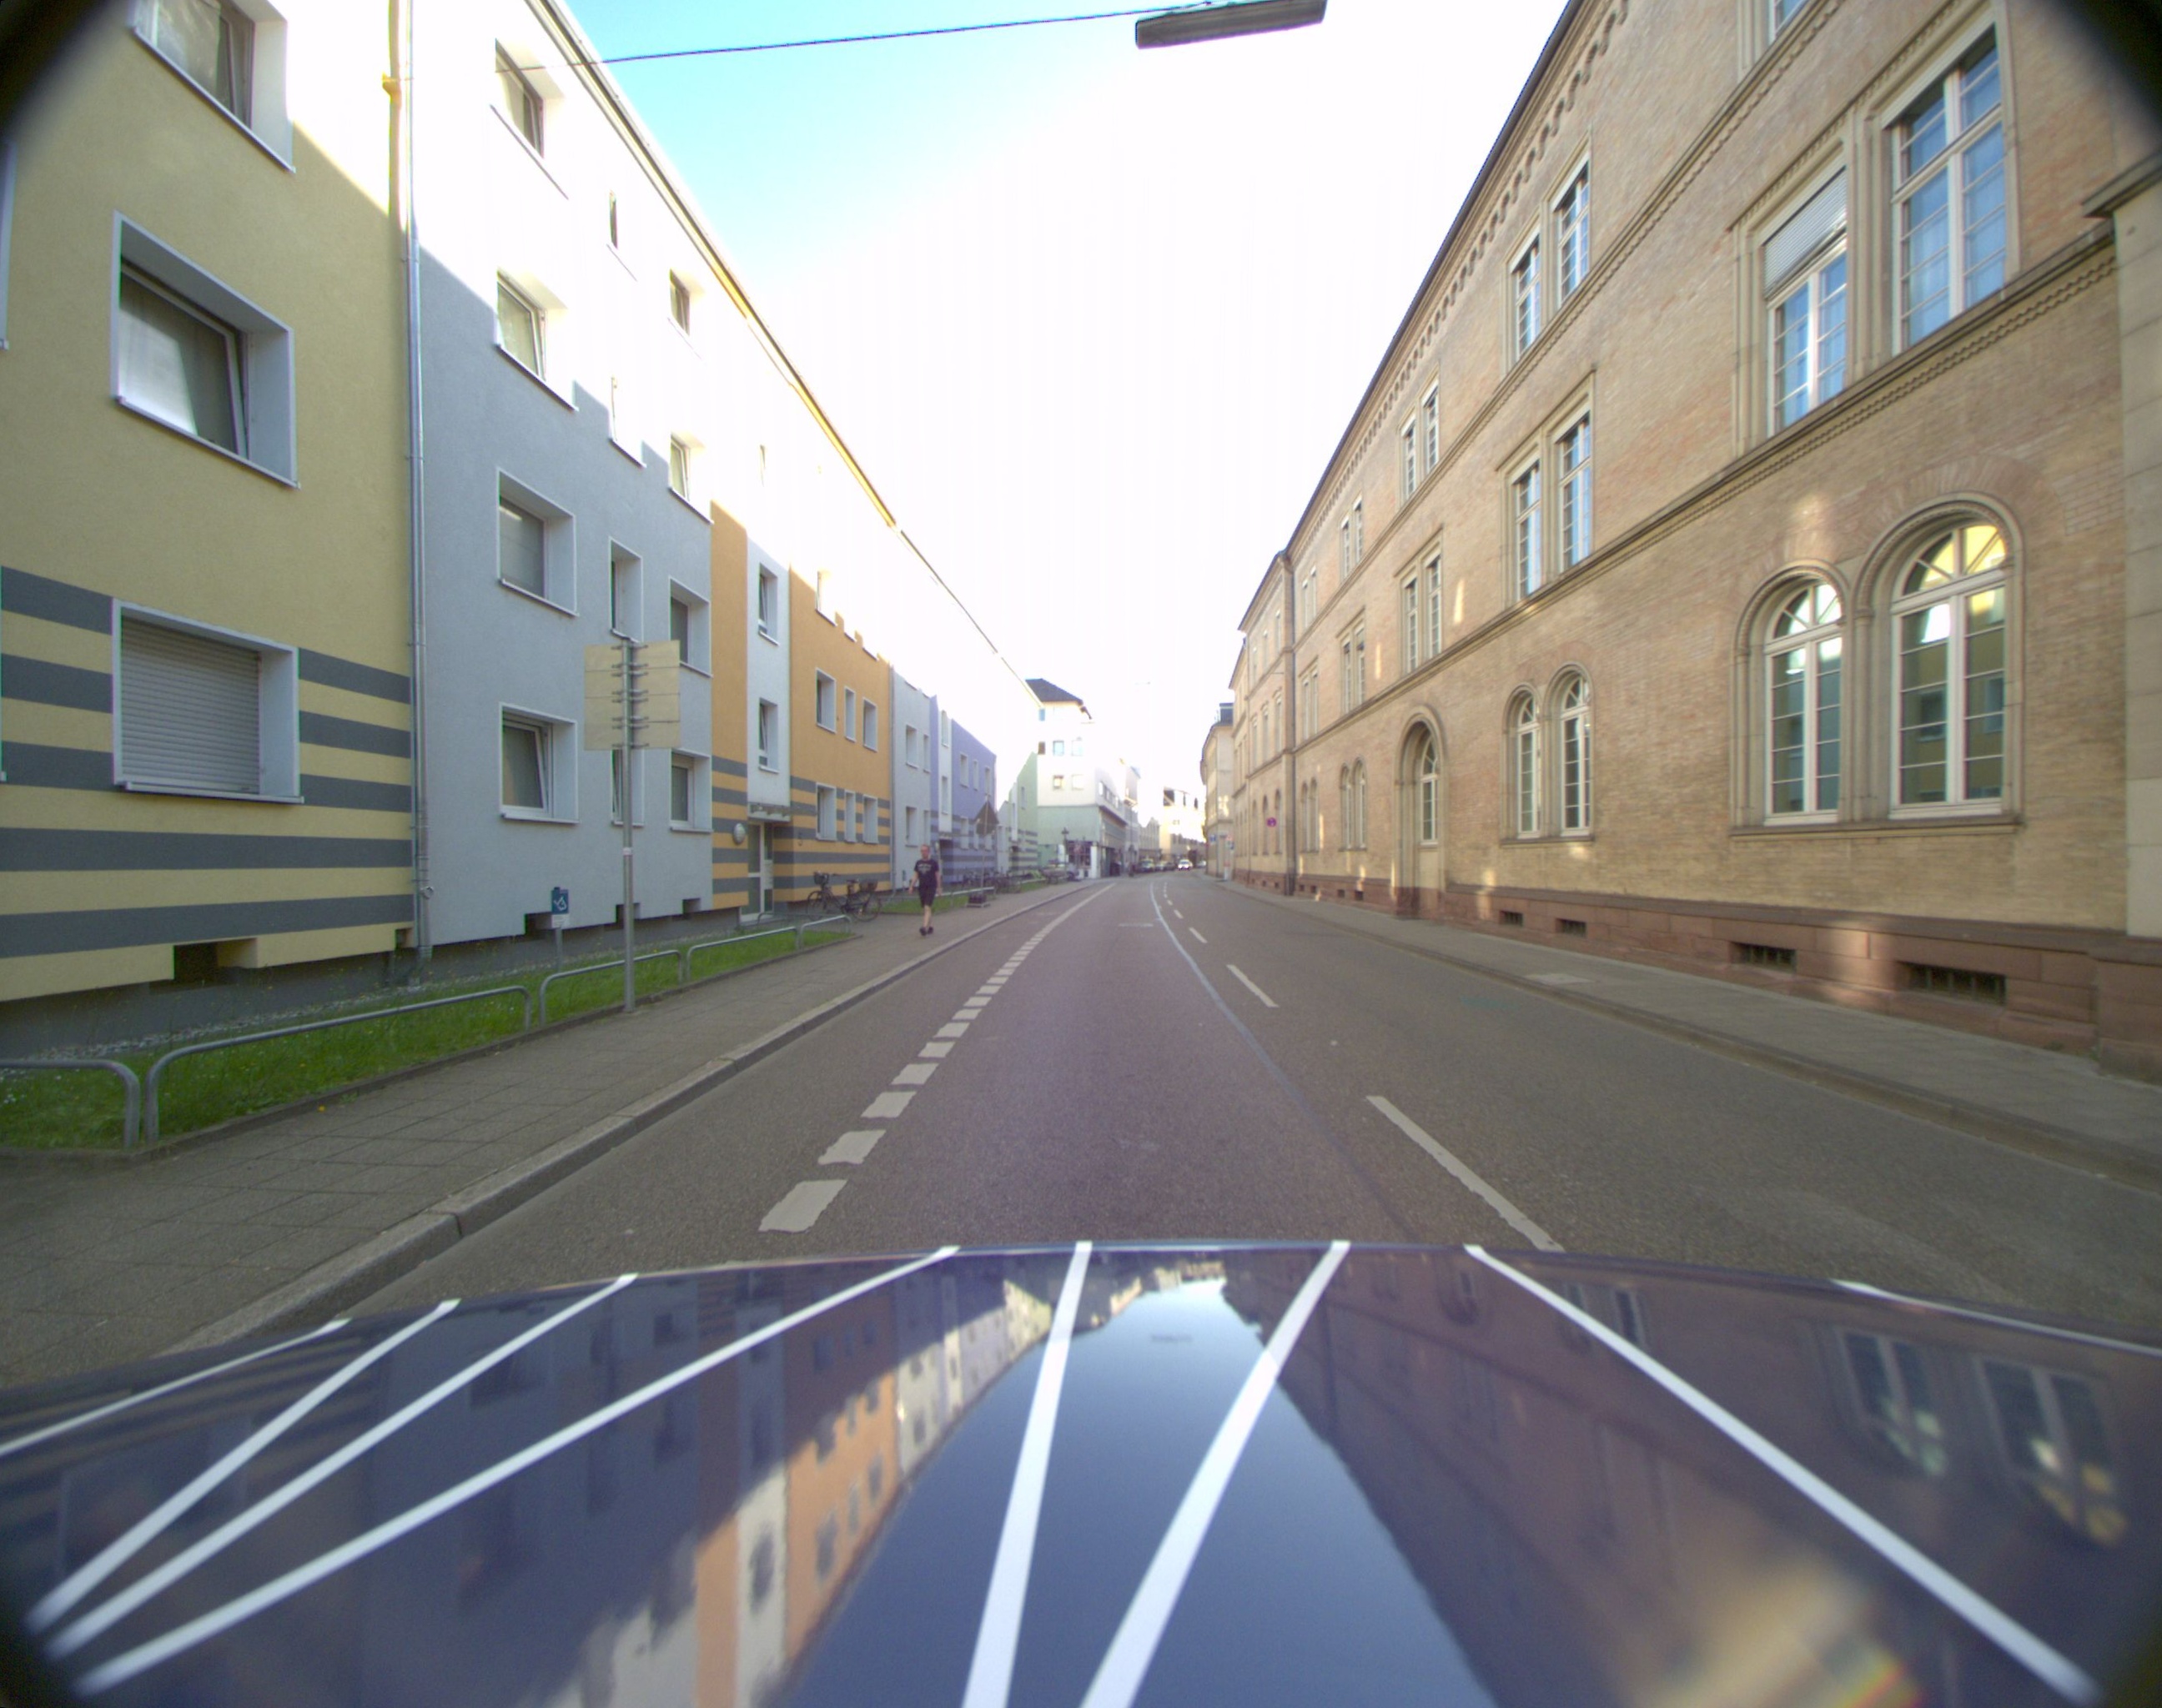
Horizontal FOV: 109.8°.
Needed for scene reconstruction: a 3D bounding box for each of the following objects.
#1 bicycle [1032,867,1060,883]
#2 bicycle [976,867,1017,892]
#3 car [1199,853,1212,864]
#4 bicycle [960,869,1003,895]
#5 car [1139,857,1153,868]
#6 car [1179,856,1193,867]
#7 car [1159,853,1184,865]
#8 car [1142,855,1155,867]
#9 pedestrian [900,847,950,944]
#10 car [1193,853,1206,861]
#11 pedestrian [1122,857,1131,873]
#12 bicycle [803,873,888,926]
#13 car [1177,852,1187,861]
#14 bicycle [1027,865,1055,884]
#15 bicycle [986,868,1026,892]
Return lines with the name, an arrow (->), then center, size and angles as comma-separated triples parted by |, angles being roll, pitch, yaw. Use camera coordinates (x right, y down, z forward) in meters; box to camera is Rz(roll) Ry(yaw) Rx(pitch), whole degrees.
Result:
bicycle -> -2.179, 1.298, 47.601 | 1.711, 0.972, 0.516 | 1, 0, -2
bicycle -> -3.660, 1.105, 33.014 | 1.710, 1.075, 0.636 | 1, 0, 1
car -> 19.789, 0.731, 120.464 | 1.662, 1.714, 3.743 | 0, 0, 14
bicycle -> -4.154, 1.166, 31.878 | 1.710, 1.039, 0.636 | 1, 0, 2
car -> 8.623, 1.052, 100.793 | 1.634, 1.405, 3.687 | 0, 0, 8
car -> 17.807, 1.227, 128.738 | 1.921, 1.712, 4.965 | 0, 0, 12
car -> 13.870, 0.735, 116.760 | 1.858, 1.714, 3.747 | 0, 0, 44
car -> 9.448, 0.937, 106.068 | 1.535, 1.714, 3.741 | 0, 0, 8
pedestrian -> -3.005, 0.781, 14.715 | 0.646, 1.778, 0.916 | 3, 1, 4
car -> 25.501, 0.712, 163.560 | 1.925, 1.714, 4.236 | 0, 0, 19
pedestrian -> 4.465, 1.068, 74.568 | 0.707, 1.510, 0.662 | 0, 0, 20
bicycle -> -5.289, 1.016, 17.124 | 1.711, 1.152, 0.636 | 1, 0, -2
car -> 19.860, 0.531, 149.532 | 1.534, 1.714, 3.743 | 0, 0, 16
bicycle -> -2.426, 1.250, 46.141 | 1.711, 1.097, 0.584 | 1, 0, -2
bicycle -> -3.331, 1.152, 33.783 | 1.711, 1.029, 0.636 | 1, 0, -2
